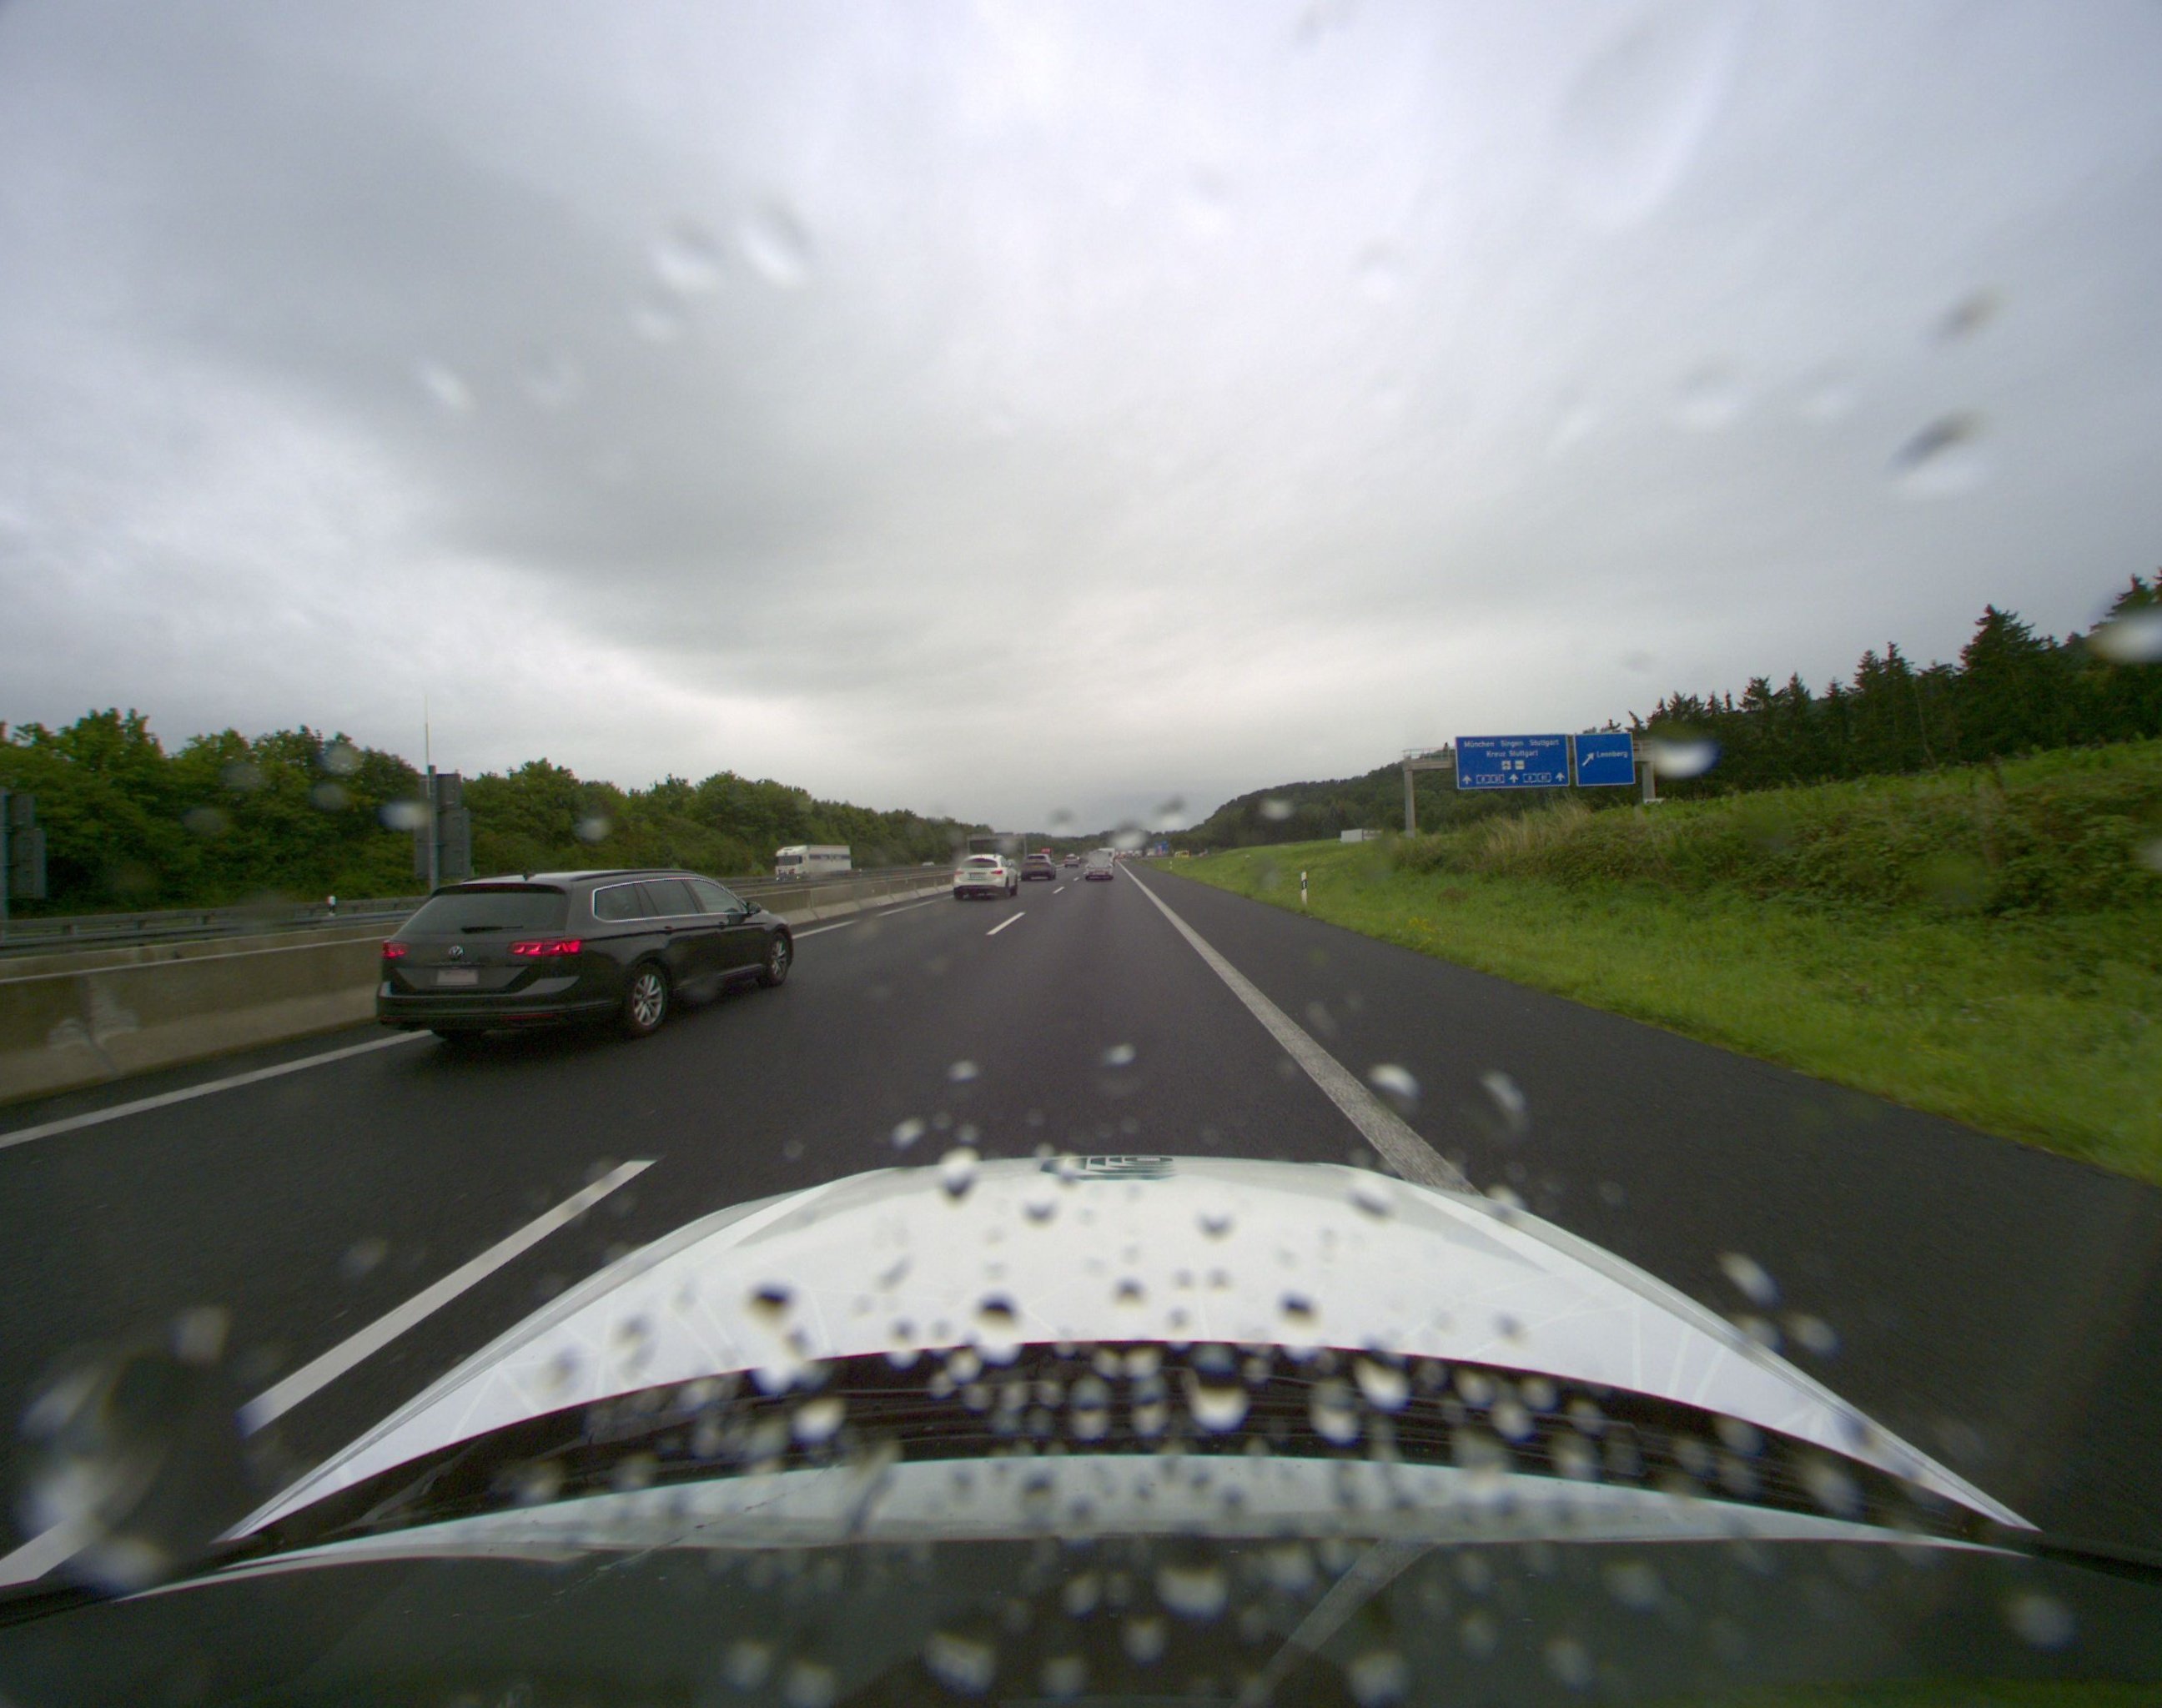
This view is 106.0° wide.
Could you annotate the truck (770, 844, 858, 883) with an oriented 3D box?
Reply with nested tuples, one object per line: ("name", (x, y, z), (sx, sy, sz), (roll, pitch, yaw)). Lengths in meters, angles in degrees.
("truck", (-28.915, 0.927, 89.630), (3.165, 3.808, 17.145), (-2, 0, 3))

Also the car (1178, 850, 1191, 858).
("car", (21.436, 0.011, 169.417), (1.989, 1.552, 3.995), (0, 0, -3))

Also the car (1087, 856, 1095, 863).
("car", (2.452, 1.392, 198.930), (1.639, 1.574, 4.002), (0, 0, 2))

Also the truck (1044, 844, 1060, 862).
("truck", (-7.690, -0.213, 219.130), (3.385, 4.733, 10.494), (-1, 0, 3))

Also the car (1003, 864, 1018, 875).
("car", (-11.634, 2.504, 135.037), (1.987, 1.662, 4.313), (-2, 0, 0))

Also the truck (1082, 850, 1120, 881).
("truck", (1.279, 0.675, 52.630), (2.234, 1.839, 6.586), (-1, 0, 1))

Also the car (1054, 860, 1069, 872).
("car", (-2.895, 1.827, 121.542), (1.812, 1.662, 4.019), (-2, 0, 2))

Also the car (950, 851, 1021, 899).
("car", (-3.537, 0.754, 30.942), (2.041, 1.670, 4.542), (-1, 0, 1))

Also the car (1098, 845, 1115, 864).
("car", (3.747, 0.113, 118.813), (2.322, 2.725, 6.543), (-1, 0, 2))

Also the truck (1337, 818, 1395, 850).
("truck", (34.966, -2.411, 100.270), (3.817, 3.659, 8.262), (0, 0, -3))

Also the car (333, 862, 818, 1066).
("car", (-4.550, 0.849, 8.456), (1.779, 1.459, 4.807), (-1, 0, 4))

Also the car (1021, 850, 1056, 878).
("car", (-2.771, 0.642, 54.130), (1.968, 1.703, 4.804), (-1, 0, 2))

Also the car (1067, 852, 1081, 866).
("car", (-0.933, 0.669, 111.167), (1.732, 1.794, 4.002), (-1, 0, 2))

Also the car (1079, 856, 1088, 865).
("car", (0.469, 1.236, 158.210), (1.639, 1.574, 4.002), (0, 0, 2))
